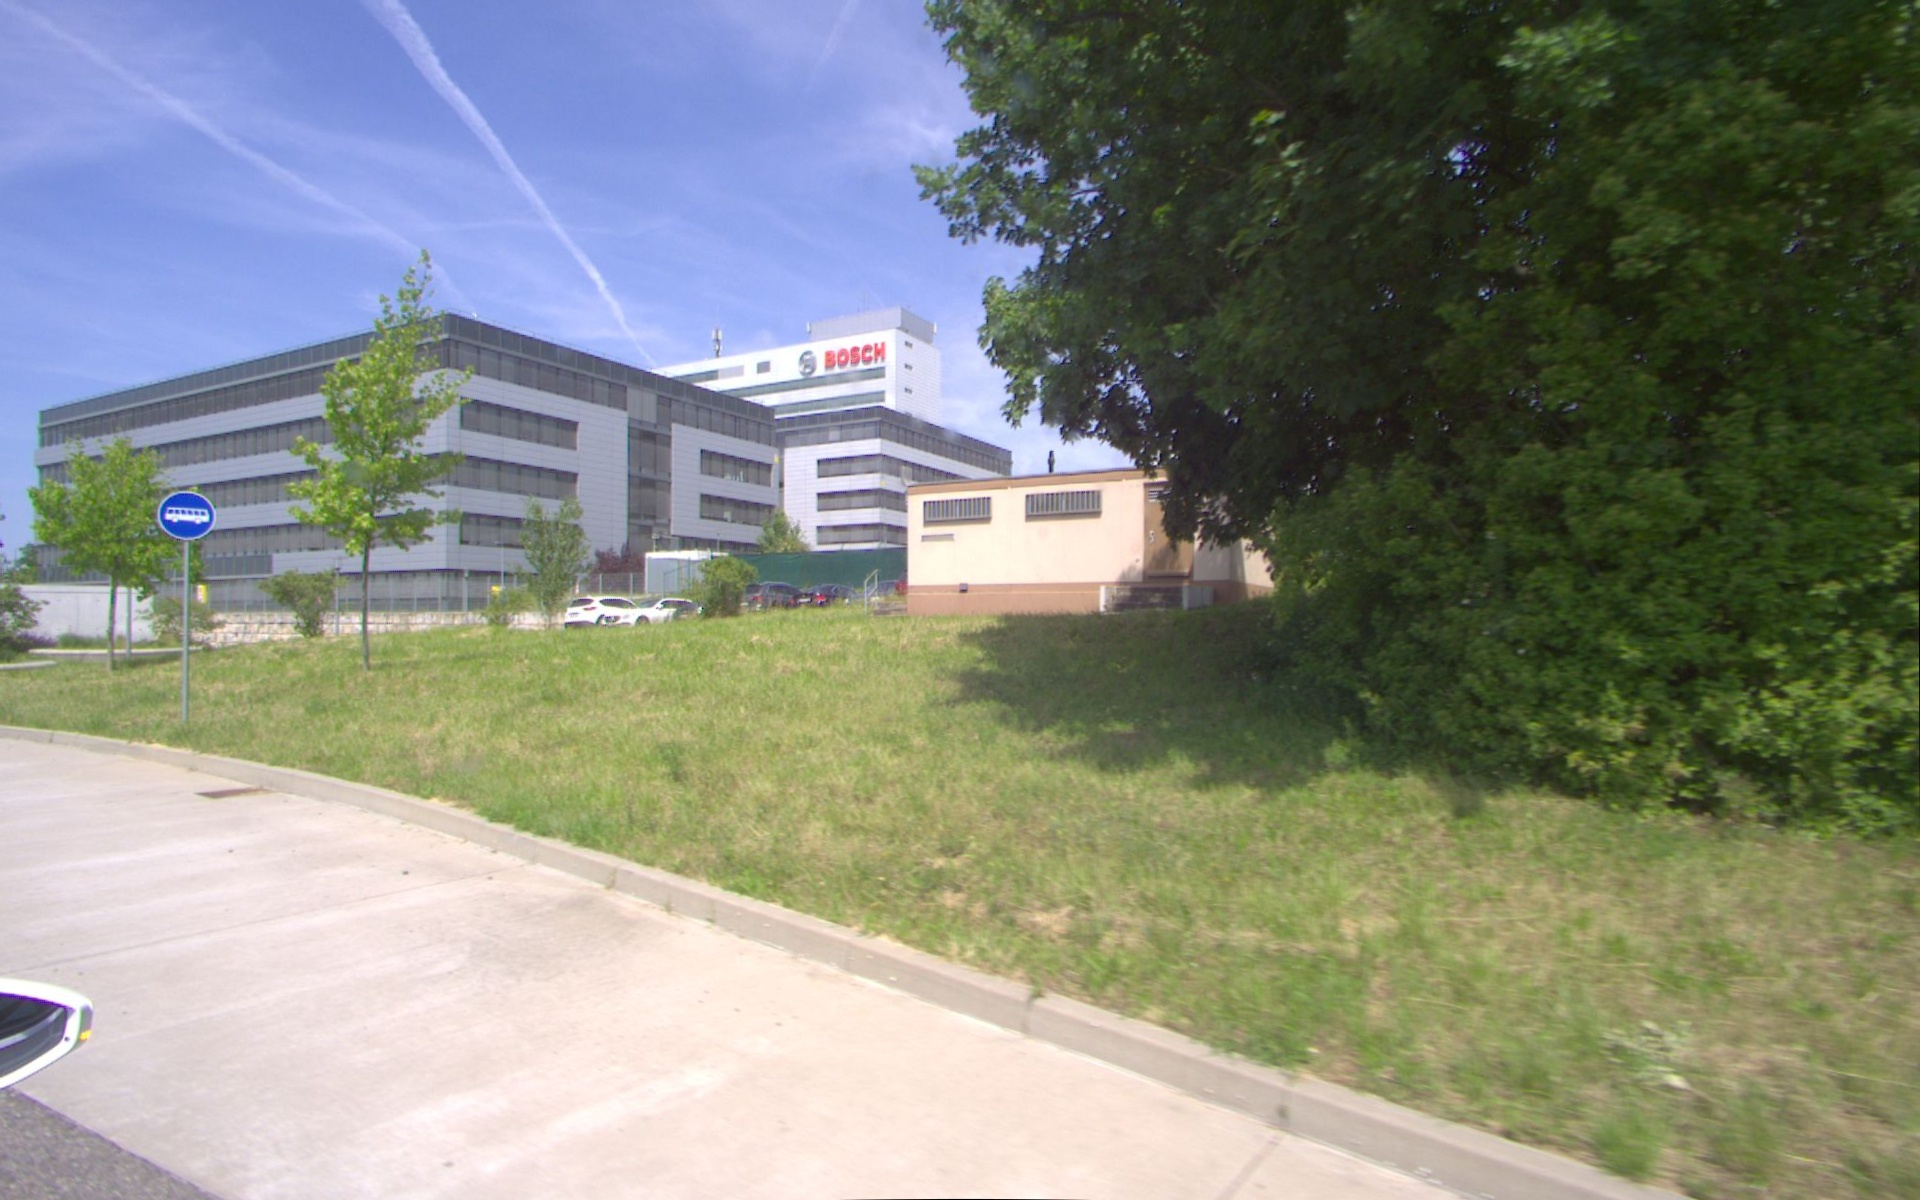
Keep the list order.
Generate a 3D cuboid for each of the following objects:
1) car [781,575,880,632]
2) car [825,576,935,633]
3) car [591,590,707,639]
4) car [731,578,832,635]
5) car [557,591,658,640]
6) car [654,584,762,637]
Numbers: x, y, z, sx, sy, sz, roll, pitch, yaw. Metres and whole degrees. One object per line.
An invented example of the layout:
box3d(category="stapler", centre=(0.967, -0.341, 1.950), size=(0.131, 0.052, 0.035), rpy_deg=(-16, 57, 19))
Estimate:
box3d(category="car", centre=(-4.848, 0.083, 37.932), size=(1.729, 1.947, 3.983), rpy_deg=(-2, 2, 27))
box3d(category="car", centre=(-2.836, 0.123, 36.404), size=(1.947, 1.838, 4.348), rpy_deg=(-2, 2, 27))
box3d(category="car", centre=(-12.948, 0.572, 41.975), size=(1.947, 1.790, 4.545), rpy_deg=(-2, 2, 27))
box3d(category="car", centre=(-6.801, 0.208, 38.561), size=(1.729, 1.947, 3.983), rpy_deg=(-2, 2, 27))
box3d(category="car", centre=(-15.149, 0.635, 43.236), size=(1.729, 1.838, 3.983), rpy_deg=(-2, 2, 27))
box3d(category="car", centre=(-9.877, 0.379, 39.562), size=(1.947, 1.838, 3.983), rpy_deg=(-2, 2, 27))
